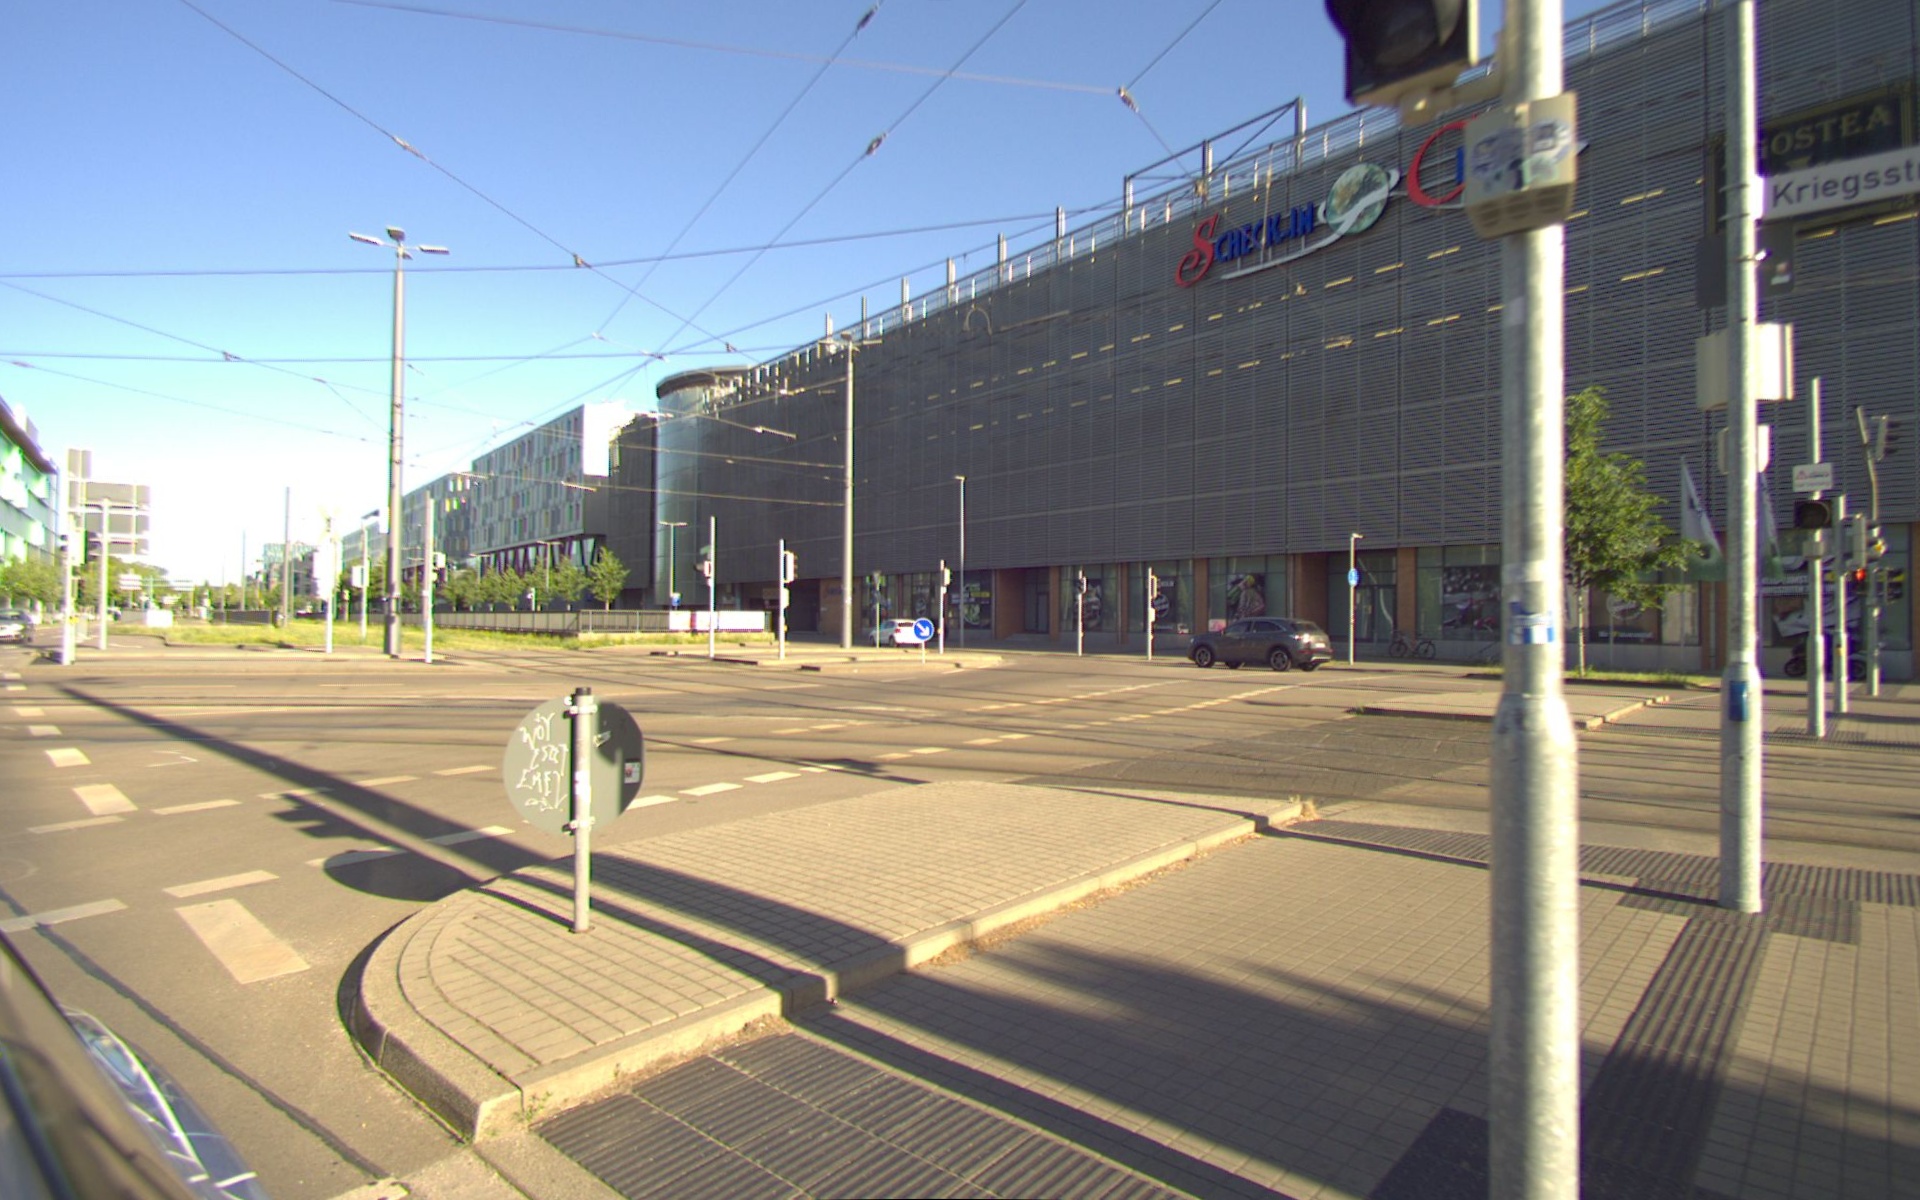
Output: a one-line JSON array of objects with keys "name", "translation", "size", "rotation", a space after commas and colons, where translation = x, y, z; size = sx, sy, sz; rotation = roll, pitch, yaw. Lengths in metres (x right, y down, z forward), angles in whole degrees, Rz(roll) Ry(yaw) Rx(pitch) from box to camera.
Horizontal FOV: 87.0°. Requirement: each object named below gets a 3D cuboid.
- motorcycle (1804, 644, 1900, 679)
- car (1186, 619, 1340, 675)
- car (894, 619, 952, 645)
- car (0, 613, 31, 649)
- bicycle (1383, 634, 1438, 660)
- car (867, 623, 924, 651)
[{"name": "motorcycle", "translation": [25.616, 1.740, 29.100], "size": [0.422, 0.927, 2.028], "rotation": [2, -2, -40]}, {"name": "car", "translation": [9.317, 1.409, 31.353], "size": [1.784, 1.587, 4.300], "rotation": [3, -2, -41]}, {"name": "car", "translation": [-2.361, 1.996, 63.473], "size": [1.561, 1.541, 3.754], "rotation": [0, 0, -43]}, {"name": "car", "translation": [-39.464, 1.240, 41.666], "size": [1.596, 1.440, 3.773], "rotation": [2, -2, -40]}, {"name": "bicycle", "translation": [18.069, 1.860, 40.594], "size": [0.577, 0.988, 1.972], "rotation": [1, -2, -38]}, {"name": "car", "translation": [-3.369, 1.875, 52.515], "size": [1.663, 1.382, 3.602], "rotation": [1, -1, -26]}]
